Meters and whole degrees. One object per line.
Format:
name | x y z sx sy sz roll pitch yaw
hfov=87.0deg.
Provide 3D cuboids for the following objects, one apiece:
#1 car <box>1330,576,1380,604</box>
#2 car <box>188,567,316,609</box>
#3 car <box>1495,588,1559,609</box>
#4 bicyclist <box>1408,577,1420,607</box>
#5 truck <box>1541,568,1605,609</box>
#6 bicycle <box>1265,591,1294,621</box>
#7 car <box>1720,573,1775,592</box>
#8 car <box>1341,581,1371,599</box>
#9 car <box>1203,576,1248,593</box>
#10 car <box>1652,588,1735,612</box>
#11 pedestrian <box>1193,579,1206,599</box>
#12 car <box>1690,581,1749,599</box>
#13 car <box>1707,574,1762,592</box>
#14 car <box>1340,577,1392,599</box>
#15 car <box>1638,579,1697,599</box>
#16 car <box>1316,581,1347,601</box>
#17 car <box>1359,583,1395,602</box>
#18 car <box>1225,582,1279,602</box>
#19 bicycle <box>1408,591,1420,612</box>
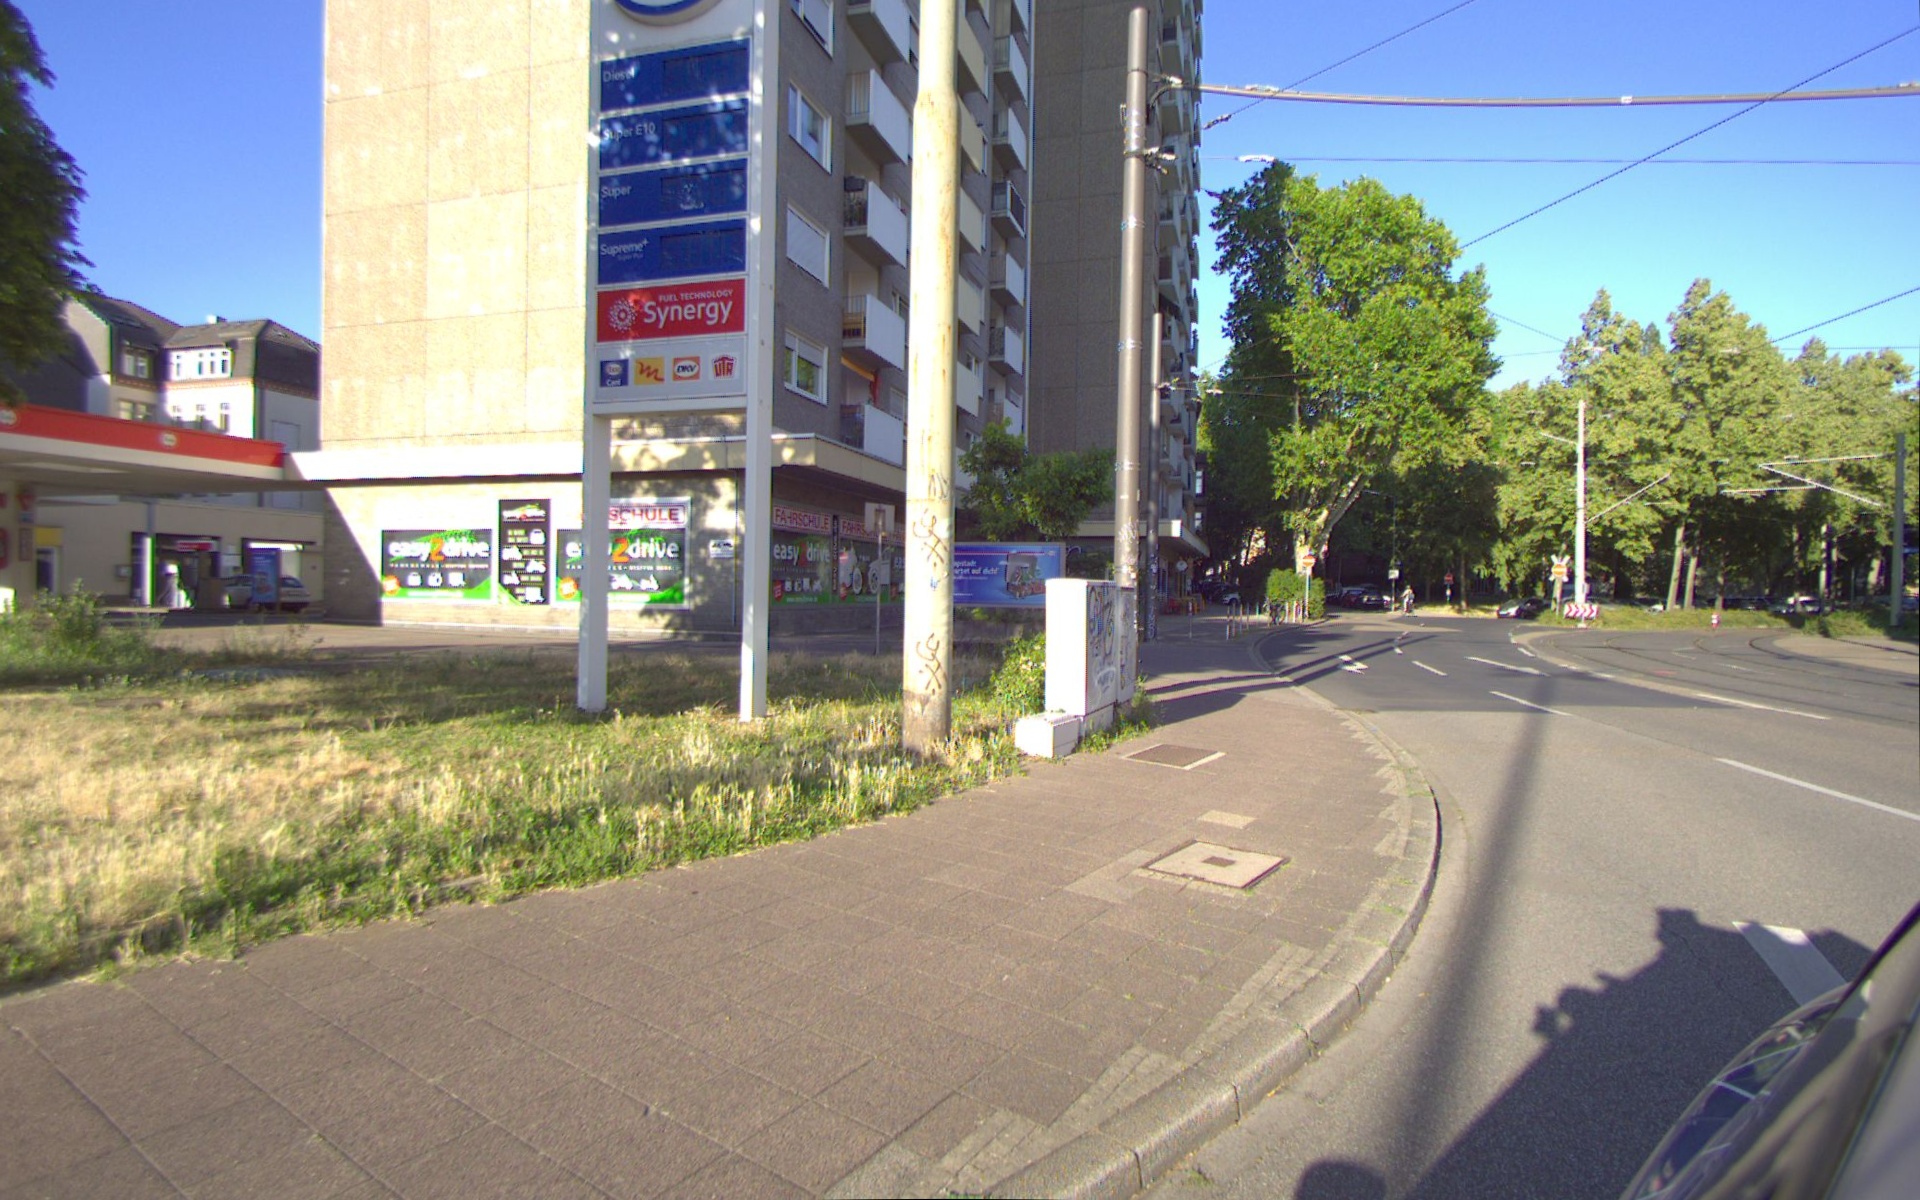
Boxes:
car | 35.103 -0.878 89.946 3.859 2.436 1.532 1 1 7
car | -25.853 -0.453 36.986 4.202 1.438 1.740 1 1 20
car | 38.964 -0.100 69.514 3.918 1.415 1.954 0 1 -27
bicyclist | 27.672 -0.482 61.635 0.600 1.785 1.052 1 1 23
truck | 43.712 -0.801 72.133 4.790 2.818 2.001 0 1 -34
bicycle | 12.762 0.210 40.358 0.605 1.149 2.256 1 1 31
car | 78.486 -1.757 100.971 1.845 1.772 4.009 1 1 -15
car | 32.519 -0.838 83.142 1.510 1.466 3.916 1 1 9
car | 25.733 -1.526 98.230 3.933 1.527 1.882 1 1 8
car | 43.398 -0.023 59.978 1.704 1.370 3.697 1 1 -18
pedestrian | 24.941 -1.186 105.346 1.193 2.039 1.204 1 0 9
car | 73.890 -1.006 98.547 1.958 1.727 4.367 1 1 -14
car | 76.185 -1.664 99.585 1.845 1.772 4.009 1 1 -15
car | 35.056 -1.038 87.509 3.859 1.783 1.532 1 1 7
car | 65.613 -1.075 93.903 1.959 1.772 4.450 1 1 -8
car | 35.394 -0.885 96.475 1.741 1.880 4.221 1 1 7
car | 32.024 -0.595 77.781 1.713 1.466 3.622 1 1 9
car | 23.300 -0.622 80.889 3.933 1.527 1.882 1 1 8
bicycle | 27.671 0.081 61.653 0.604 1.190 1.937 1 1 23
